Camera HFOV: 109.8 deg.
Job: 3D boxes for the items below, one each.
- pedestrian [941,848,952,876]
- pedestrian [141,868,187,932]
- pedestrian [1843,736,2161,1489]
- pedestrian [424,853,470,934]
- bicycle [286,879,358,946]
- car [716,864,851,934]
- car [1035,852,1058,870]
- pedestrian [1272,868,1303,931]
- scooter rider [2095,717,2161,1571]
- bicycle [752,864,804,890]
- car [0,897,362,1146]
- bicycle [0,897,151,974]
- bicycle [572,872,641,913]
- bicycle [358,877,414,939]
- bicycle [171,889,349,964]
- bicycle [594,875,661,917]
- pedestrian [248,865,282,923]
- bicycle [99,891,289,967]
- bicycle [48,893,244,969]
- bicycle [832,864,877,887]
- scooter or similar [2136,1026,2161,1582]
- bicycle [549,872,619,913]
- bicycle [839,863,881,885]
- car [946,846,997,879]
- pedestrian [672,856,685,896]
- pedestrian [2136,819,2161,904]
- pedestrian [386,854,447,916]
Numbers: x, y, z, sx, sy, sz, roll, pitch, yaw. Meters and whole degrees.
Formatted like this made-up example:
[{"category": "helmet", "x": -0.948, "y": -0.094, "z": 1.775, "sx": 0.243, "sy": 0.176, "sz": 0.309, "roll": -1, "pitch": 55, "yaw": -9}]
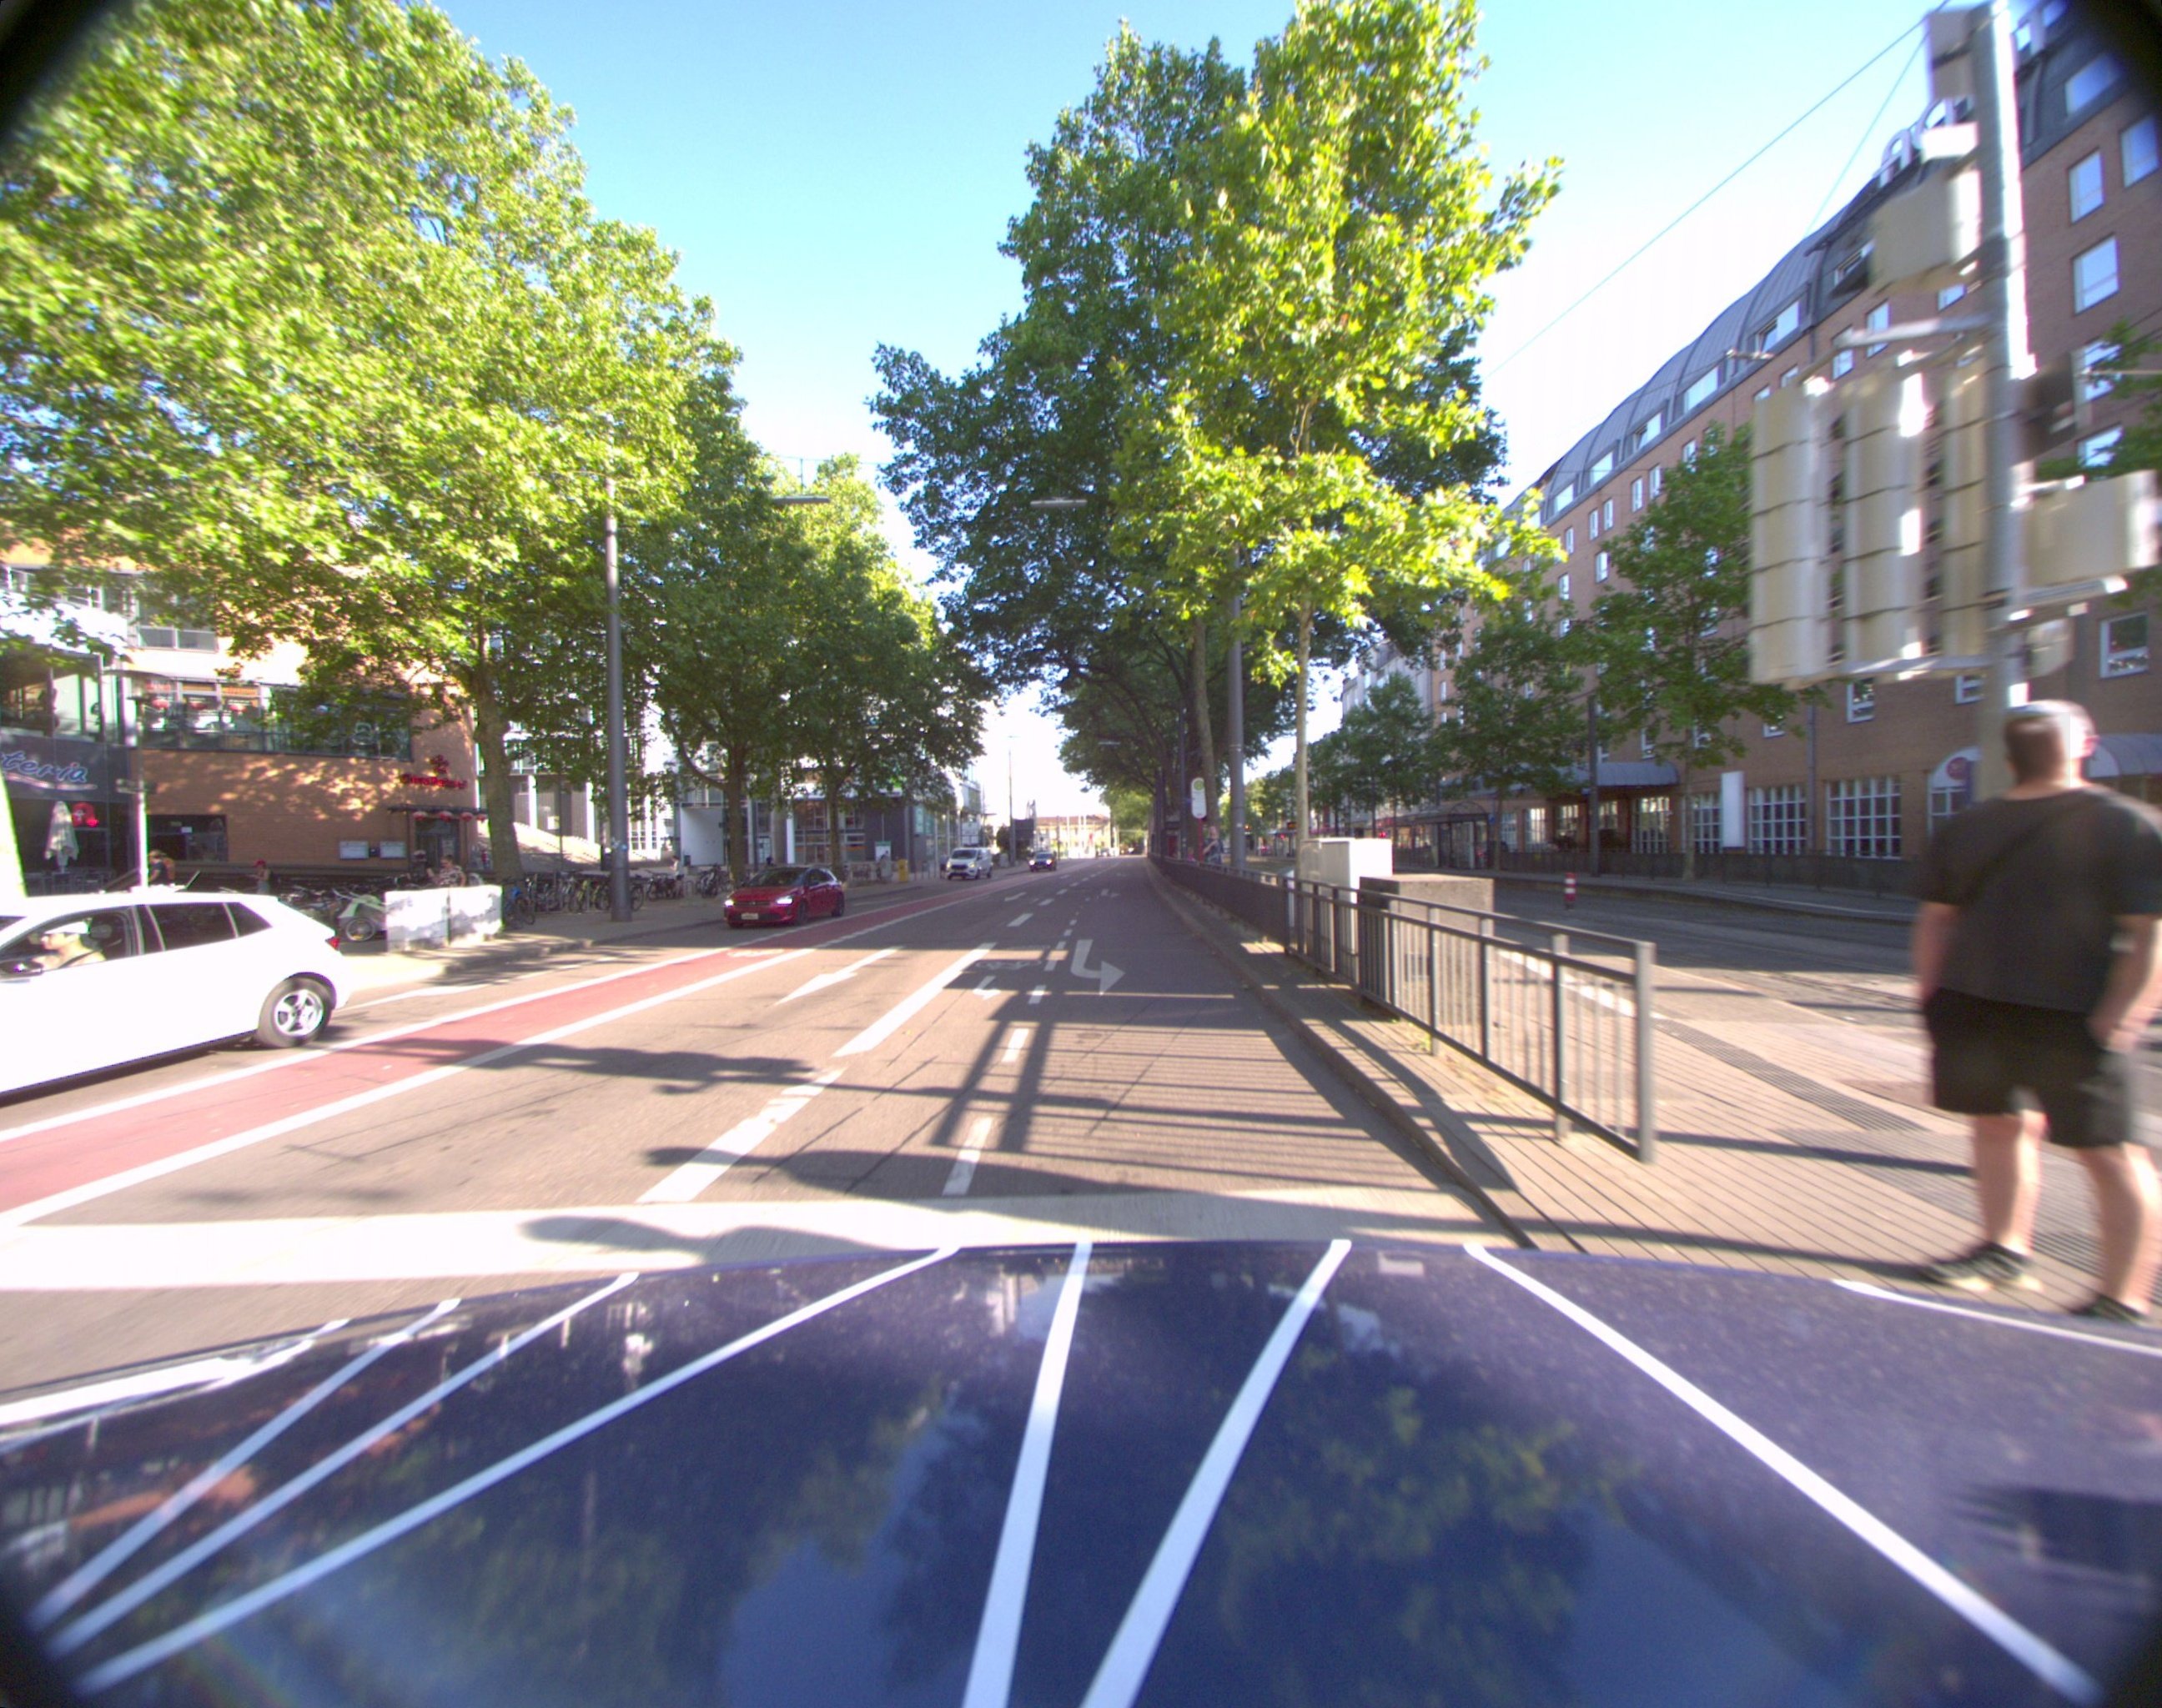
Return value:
[{"category": "pedestrian", "x": -8.622, "y": 0.517, "z": 48.699, "sx": 0.561, "sy": 1.788, "sz": 0.593, "roll": -1, "pitch": 1, "yaw": 1}, {"category": "pedestrian", "x": -24.238, "y": 1.202, "z": 20.088, "sx": 0.542, "sy": 1.660, "sz": 0.571, "roll": -1, "pitch": 1, "yaw": 19}, {"category": "pedestrian", "x": 2.772, "y": 0.608, "z": 2.145, "sx": 0.570, "sy": 1.786, "sz": 0.672, "roll": -1, "pitch": 1, "yaw": -11}, {"category": "pedestrian", "x": -13.373, "y": 0.809, "z": 16.041, "sx": 0.571, "sy": 1.660, "sz": 0.542, "roll": -2, "pitch": 1, "yaw": -25}, {"category": "bicycle", "x": -16.080, "y": 1.178, "z": 16.167, "sx": 0.785, "sy": 1.182, "sz": 3.548, "roll": -2, "pitch": 1, "yaw": -41}, {"category": "car", "x": -7.249, "y": 1.024, "z": 18.970, "sx": 1.691, "sy": 1.420, "sz": 3.999, "roll": -2, "pitch": 1, "yaw": 1}, {"category": "car", "x": -3.007, "y": 0.571, "z": 66.605, "sx": 1.691, "sy": 1.420, "sz": 3.999, "roll": -2, "pitch": 1, "yaw": 1}, {"category": "pedestrian", "x": 3.432, "y": 0.748, "z": 12.637, "sx": 0.406, "sy": 1.026, "sz": 0.378, "roll": -1, "pitch": 1, "yaw": -2}, {"category": "scooter rider", "x": 2.639, "y": 0.618, "z": 1.372, "sx": 0.762, "sy": 1.822, "sz": 0.589, "roll": -1, "pitch": 1, "yaw": 9}, {"category": "bicycle", "x": -13.059, "y": 0.980, "z": 32.757, "sx": 1.946, "sy": 1.057, "sz": 0.578, "roll": -1, "pitch": 1, "yaw": -3}, {"category": "car", "x": -7.850, "y": 1.188, "z": 5.418, "sx": 1.635, "sy": 1.443, "sz": 3.999, "roll": -2, "pitch": 1, "yaw": -1}, {"category": "bicycle", "x": -16.944, "y": 1.308, "z": 12.492, "sx": 0.782, "sy": 1.057, "sz": 1.947, "roll": -1, "pitch": 1, "yaw": 6}, {"category": "bicycle", "x": -13.586, "y": 1.075, "z": 21.829, "sx": 0.578, "sy": 1.057, "sz": 1.947, "roll": -1, "pitch": 1, "yaw": 6}, {"category": "bicycle", "x": -15.524, "y": 1.147, "z": 17.044, "sx": 0.785, "sy": 1.182, "sz": 3.548, "roll": -2, "pitch": 1, "yaw": -41}, {"category": "bicycle", "x": -13.861, "y": 1.185, "z": 12.934, "sx": 0.782, "sy": 1.057, "sz": 1.947, "roll": -1, "pitch": 1, "yaw": 6}, {"category": "bicycle", "x": -12.978, "y": 1.175, "z": 21.805, "sx": 0.578, "sy": 1.057, "sz": 1.947, "roll": -1, "pitch": 1, "yaw": 6}, {"category": "pedestrian", "x": -23.828, "y": 1.163, "z": 22.194, "sx": 0.569, "sy": 1.660, "sz": 0.545, "roll": 0, "pitch": 1, "yaw": 34}, {"category": "bicycle", "x": -14.868, "y": 1.225, "z": 12.837, "sx": 0.782, "sy": 1.057, "sz": 1.947, "roll": -1, "pitch": 1, "yaw": 6}, {"category": "bicycle", "x": -15.697, "y": 1.256, "z": 12.853, "sx": 0.782, "sy": 1.057, "sz": 1.947, "roll": -1, "pitch": 1, "yaw": 6}, {"category": "bicycle", "x": -11.021, "y": 1.045, "z": 37.006, "sx": 1.946, "sy": 1.057, "sz": 0.578, "roll": -1, "pitch": 1, "yaw": -3}, {"category": "scooter or similar", "x": 2.814, "y": 0.947, "z": 1.316, "sx": 1.158, "sy": 1.172, "sz": 0.456, "roll": -1, "pitch": 1, "yaw": 10}, {"category": "bicycle", "x": -14.359, "y": 1.103, "z": 22.004, "sx": 0.578, "sy": 1.057, "sz": 1.947, "roll": -1, "pitch": 1, "yaw": 6}, {"category": "bicycle", "x": -11.405, "y": 1.035, "z": 39.275, "sx": 1.946, "sy": 1.057, "sz": 0.578, "roll": -1, "pitch": 1, "yaw": -3}, {"category": "car", "x": -6.960, "y": 0.480, "z": 48.800, "sx": 1.970, "sy": 1.934, "sz": 4.967, "roll": -2, "pitch": 1, "yaw": 6}, {"category": "pedestrian", "x": -15.736, "y": 0.846, "z": 29.714, "sx": 0.411, "sy": 1.546, "sz": 0.446, "roll": -2, "pitch": 1, "yaw": -25}, {"category": "pedestrian", "x": 24.459, "y": 0.160, "z": 17.013, "sx": 0.646, "sy": 1.884, "sz": 0.746, "roll": -1, "pitch": 1, "yaw": 16}, {"category": "pedestrian", "x": -17.121, "y": 0.787, "z": 19.598, "sx": 0.765, "sy": 1.533, "sz": 0.875, "roll": -1, "pitch": 1, "yaw": -1}]
